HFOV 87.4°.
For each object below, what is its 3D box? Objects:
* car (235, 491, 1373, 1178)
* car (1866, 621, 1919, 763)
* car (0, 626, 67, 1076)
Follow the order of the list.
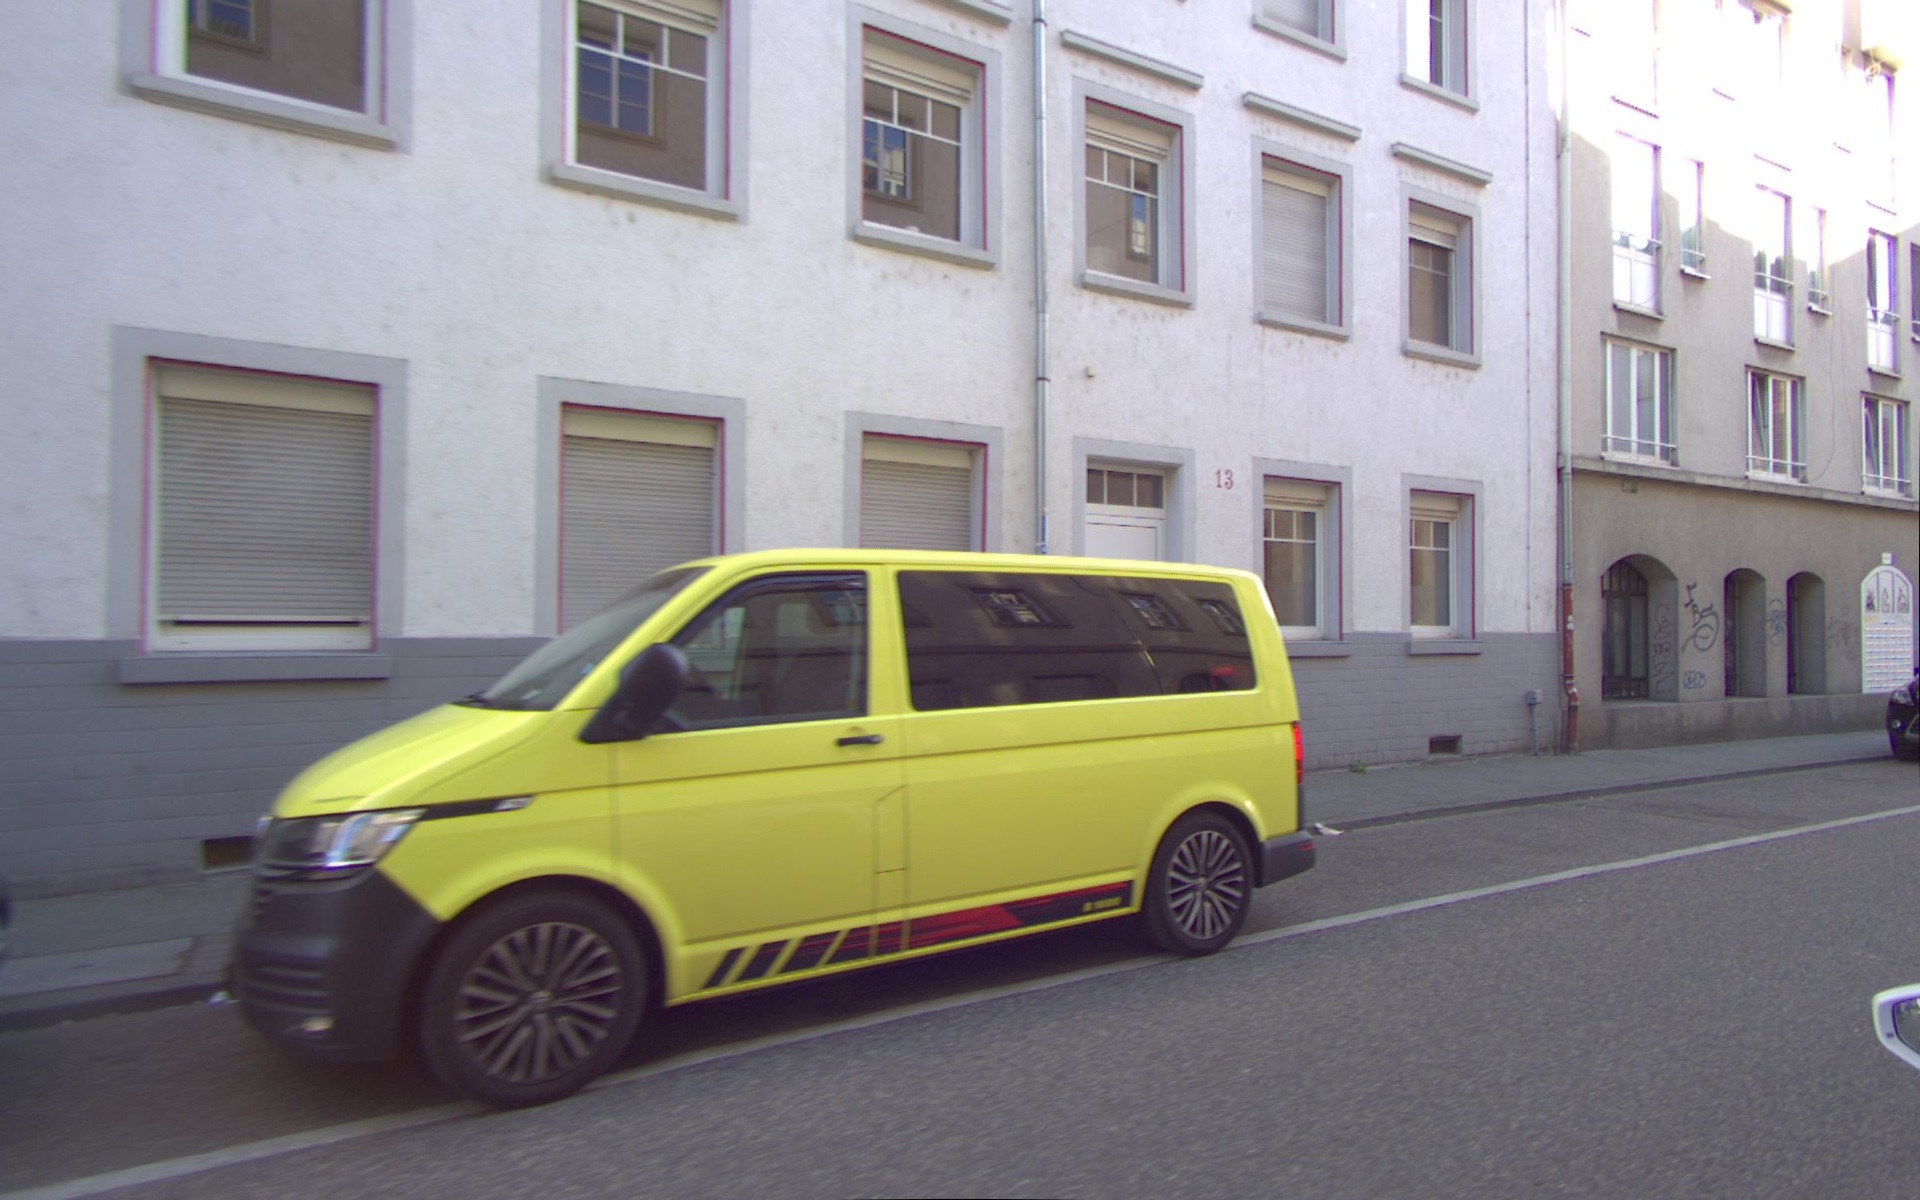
[{"bbox_3d":[-0.400,0.741,4.844,4.807,1.891,1.872,1,-4,-31],"label":"car"},{"bbox_3d":[13.759,1.121,12.883,4.136,1.733,1.735,1,-4,-27],"label":"car"},{"bbox_3d":[-4.863,0.801,2.211,4.032,1.505,1.809,1,-5,-33],"label":"car"}]
